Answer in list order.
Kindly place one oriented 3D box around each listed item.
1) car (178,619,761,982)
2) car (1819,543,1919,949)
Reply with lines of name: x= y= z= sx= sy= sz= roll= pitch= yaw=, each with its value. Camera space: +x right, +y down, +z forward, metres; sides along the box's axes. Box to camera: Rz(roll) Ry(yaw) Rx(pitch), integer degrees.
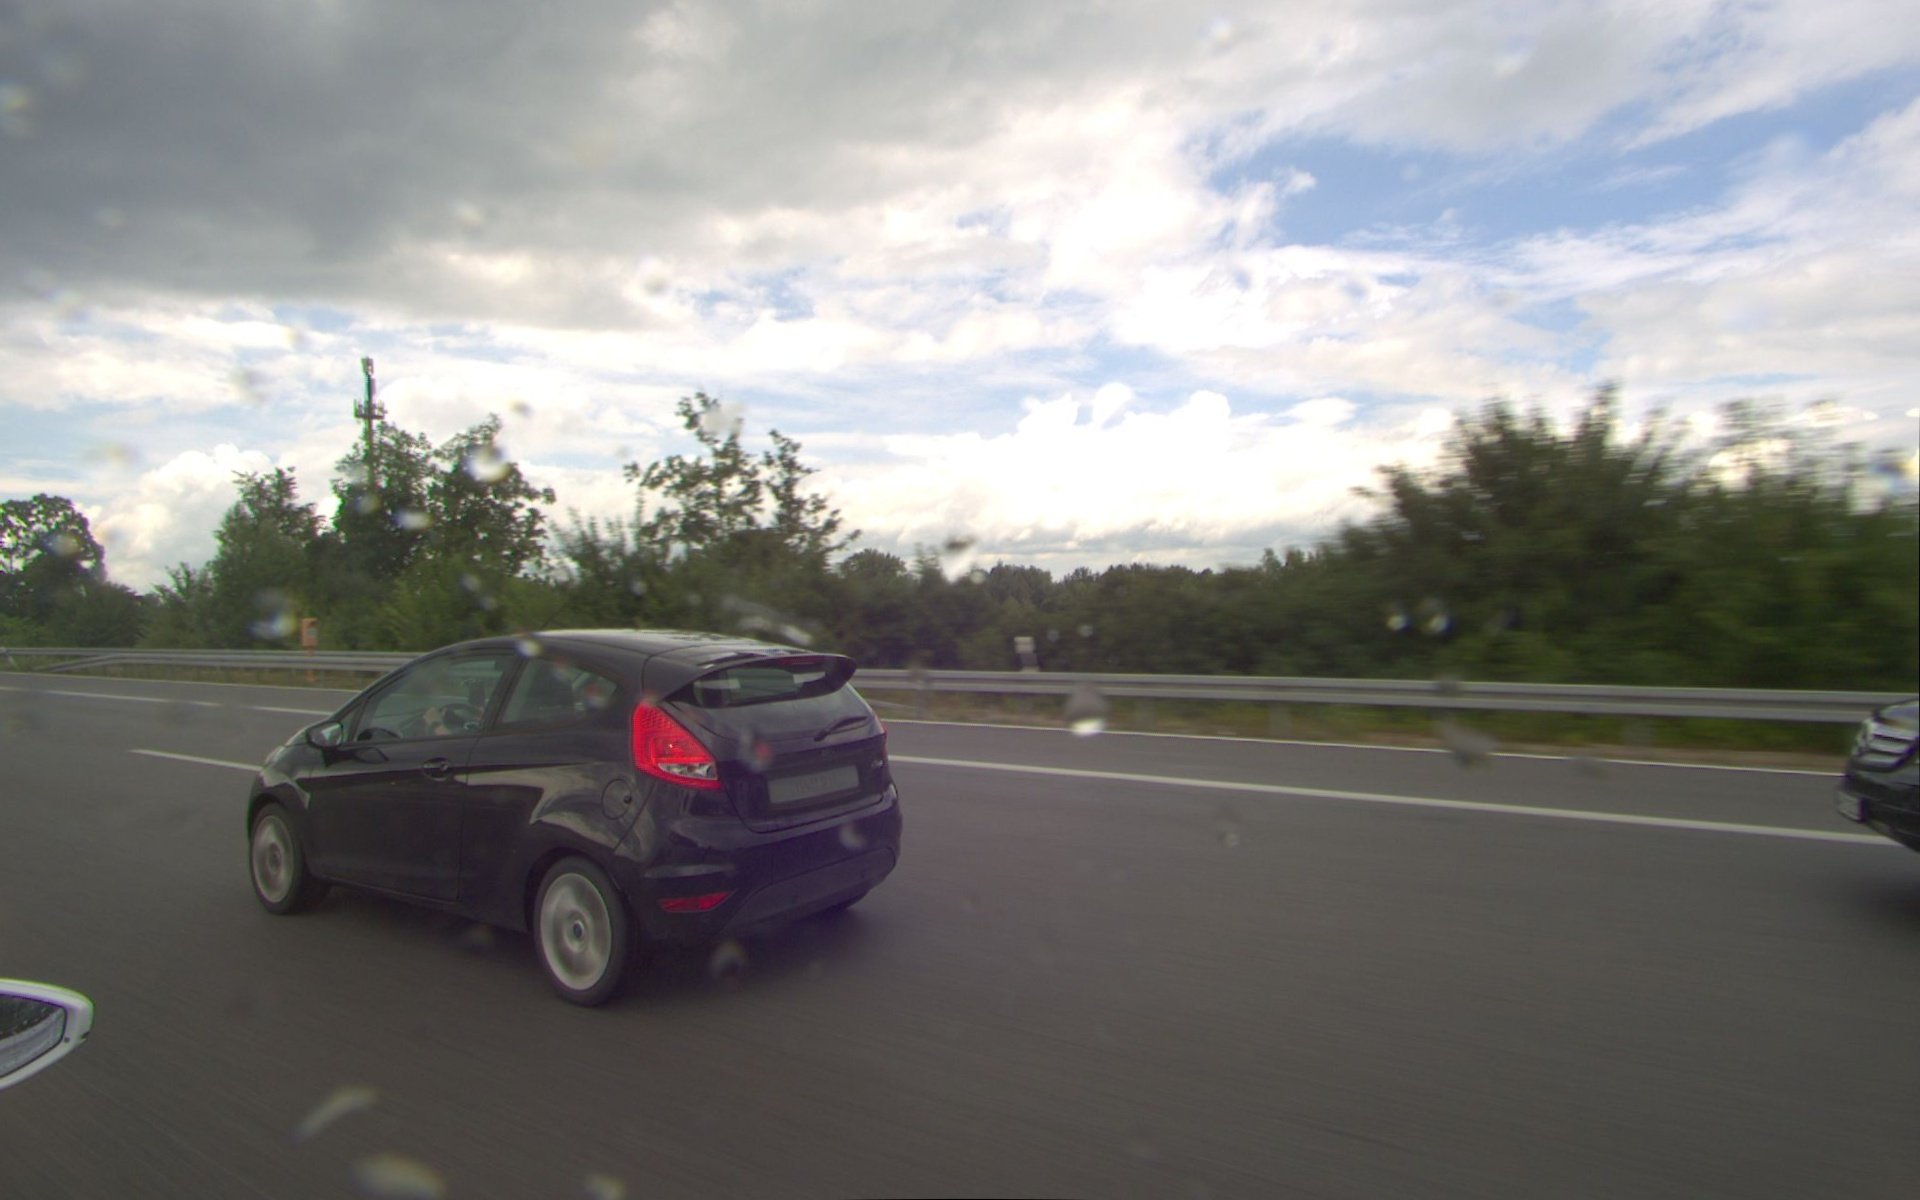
car: x=-2.743 y=0.848 z=5.477 sx=3.118 sy=1.460 sz=1.444 roll=-1 pitch=-1 yaw=32
car: x=6.549 y=0.625 z=3.988 sx=4.436 sy=1.799 sz=1.918 roll=-1 pitch=-1 yaw=31
